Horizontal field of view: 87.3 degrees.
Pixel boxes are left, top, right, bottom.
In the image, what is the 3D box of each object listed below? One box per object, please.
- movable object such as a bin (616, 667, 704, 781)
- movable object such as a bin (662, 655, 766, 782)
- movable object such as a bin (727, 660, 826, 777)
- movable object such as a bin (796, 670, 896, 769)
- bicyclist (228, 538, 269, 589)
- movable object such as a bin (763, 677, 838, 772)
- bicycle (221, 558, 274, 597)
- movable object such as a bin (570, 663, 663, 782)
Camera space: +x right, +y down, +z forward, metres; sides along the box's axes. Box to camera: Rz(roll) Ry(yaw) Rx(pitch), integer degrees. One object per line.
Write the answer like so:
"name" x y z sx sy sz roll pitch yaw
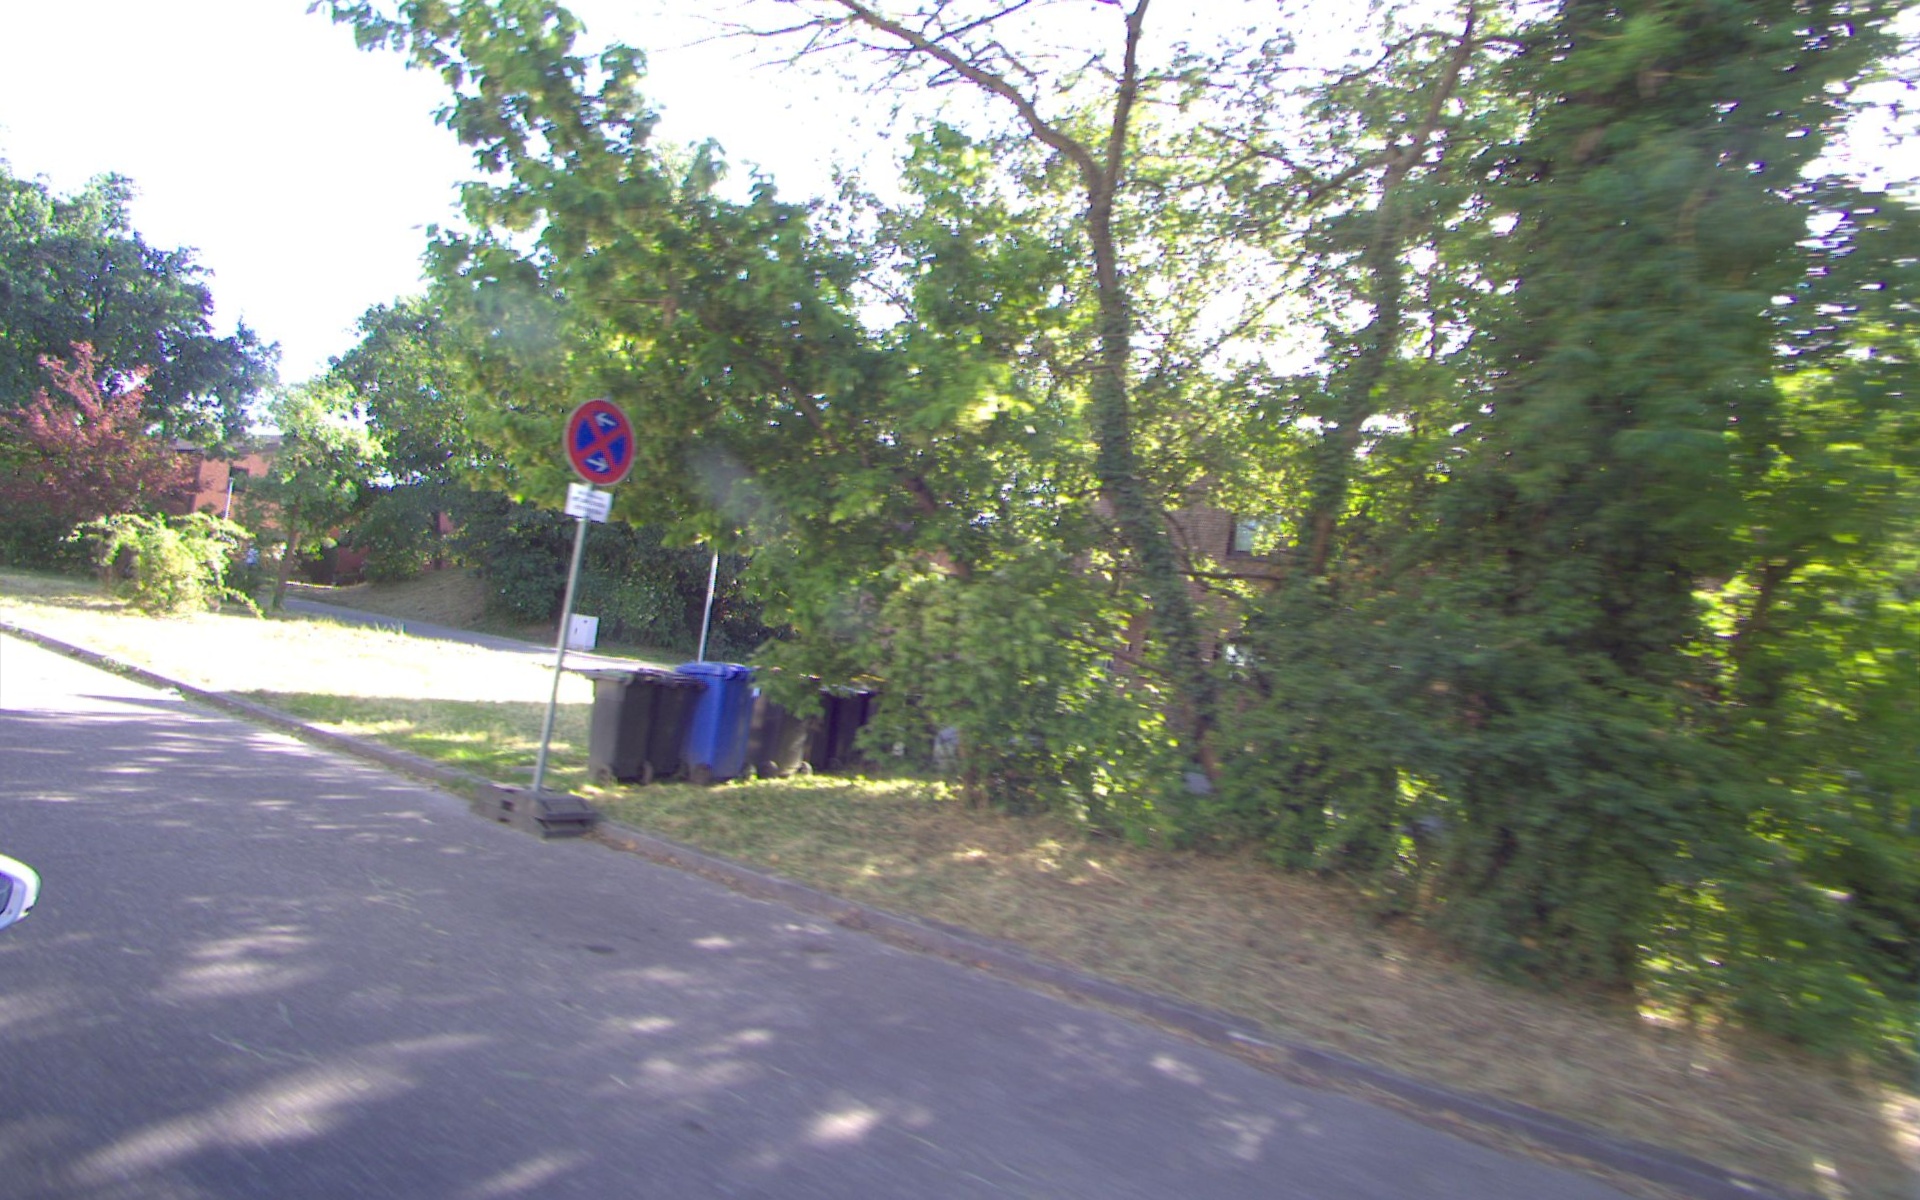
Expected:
"movable object such as a bin" -2.550 1.048 8.559 0.476 0.880 0.413 6 -1 32
"movable object such as a bin" -2.180 1.045 8.942 0.598 1.011 0.519 6 -1 32
"movable object such as a bin" -1.761 1.128 9.681 0.598 1.011 0.563 6 -1 32
"movable object such as a bin" -1.221 1.278 10.820 0.683 0.939 0.695 6 -1 32
"bicyclist" -23.371 -1.203 33.057 0.826 1.516 0.633 7 -3 31
"movable object such as a bin" -1.624 1.260 10.272 0.516 0.880 0.419 6 -1 32
"bicycle" -23.378 -0.742 32.996 1.755 1.051 0.633 7 -3 31
"movable object such as a bin" -2.779 0.985 8.151 0.476 0.880 0.413 6 -1 32
